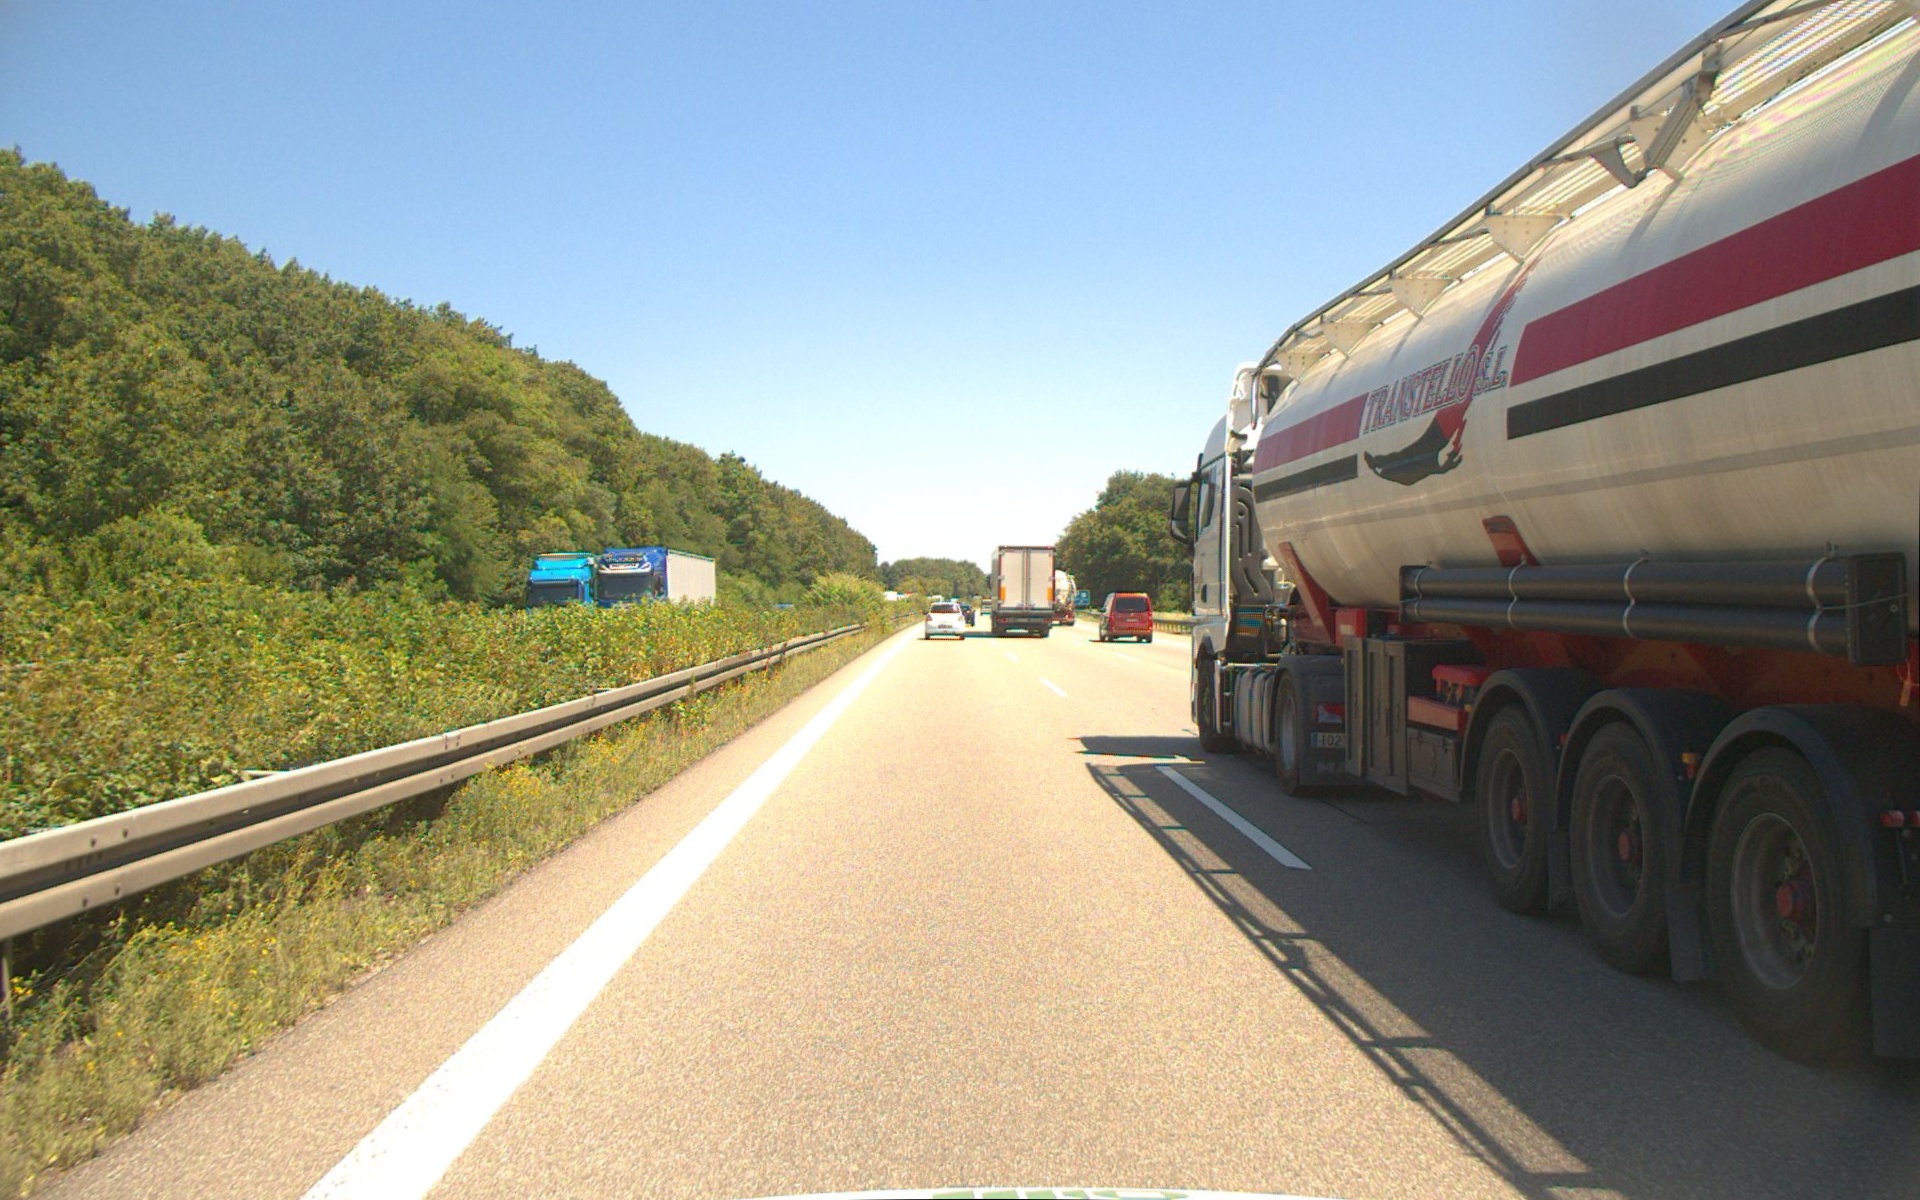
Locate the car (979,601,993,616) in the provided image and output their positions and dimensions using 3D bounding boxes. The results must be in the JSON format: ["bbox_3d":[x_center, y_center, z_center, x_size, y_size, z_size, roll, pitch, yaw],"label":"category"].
[{"bbox_3d":[3.158,1.002,203.900,1.634,1.796,3.999,0,0,-1],"label":"car"}]

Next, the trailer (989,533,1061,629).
[{"bbox_3d":[2.967,-0.842,78.927,3.157,4.216,12.353,0,0,1],"label":"trailer"}]

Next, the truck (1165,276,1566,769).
[{"bbox_3d":[3.850,-0.682,16.900,2.734,4.278,4.998,0,0,-2],"label":"truck"}]

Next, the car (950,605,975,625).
[{"bbox_3d":[0.134,0.993,110.198,1.634,1.312,3.999,0,0,-1],"label":"car"}]

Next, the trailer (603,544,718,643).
[{"bbox_3d":[-13.281,-0.273,74.650,2.811,4.079,13.516,0,0,-1],"label":"trailer"}]

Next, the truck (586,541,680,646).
[{"bbox_3d":[-13.184,-0.265,67.017,2.811,4.080,4.999,0,0,-1],"label":"truck"}]

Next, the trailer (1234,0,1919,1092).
[{"bbox_3d":[4.082,-0.691,9.123,2.734,4.278,12.348,0,0,-2],"label":"trailer"}]

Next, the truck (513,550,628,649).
[{"bbox_3d":[-17.573,-0.030,75.313,2.952,4.186,9.999,0,0,-1],"label":"truck"}]

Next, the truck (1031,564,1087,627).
[{"bbox_3d":[7.169,-0.321,121.255,3.158,4.421,10.803,0,0,-2],"label":"truck"}]

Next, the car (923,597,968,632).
[{"bbox_3d":[-0.642,0.598,68.814,1.775,1.429,3.316,0,0,-2],"label":"car"}]

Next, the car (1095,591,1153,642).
[{"bbox_3d":[6.845,0.665,69.398,1.818,2.038,5.521,1,0,-1],"label":"car"}]
